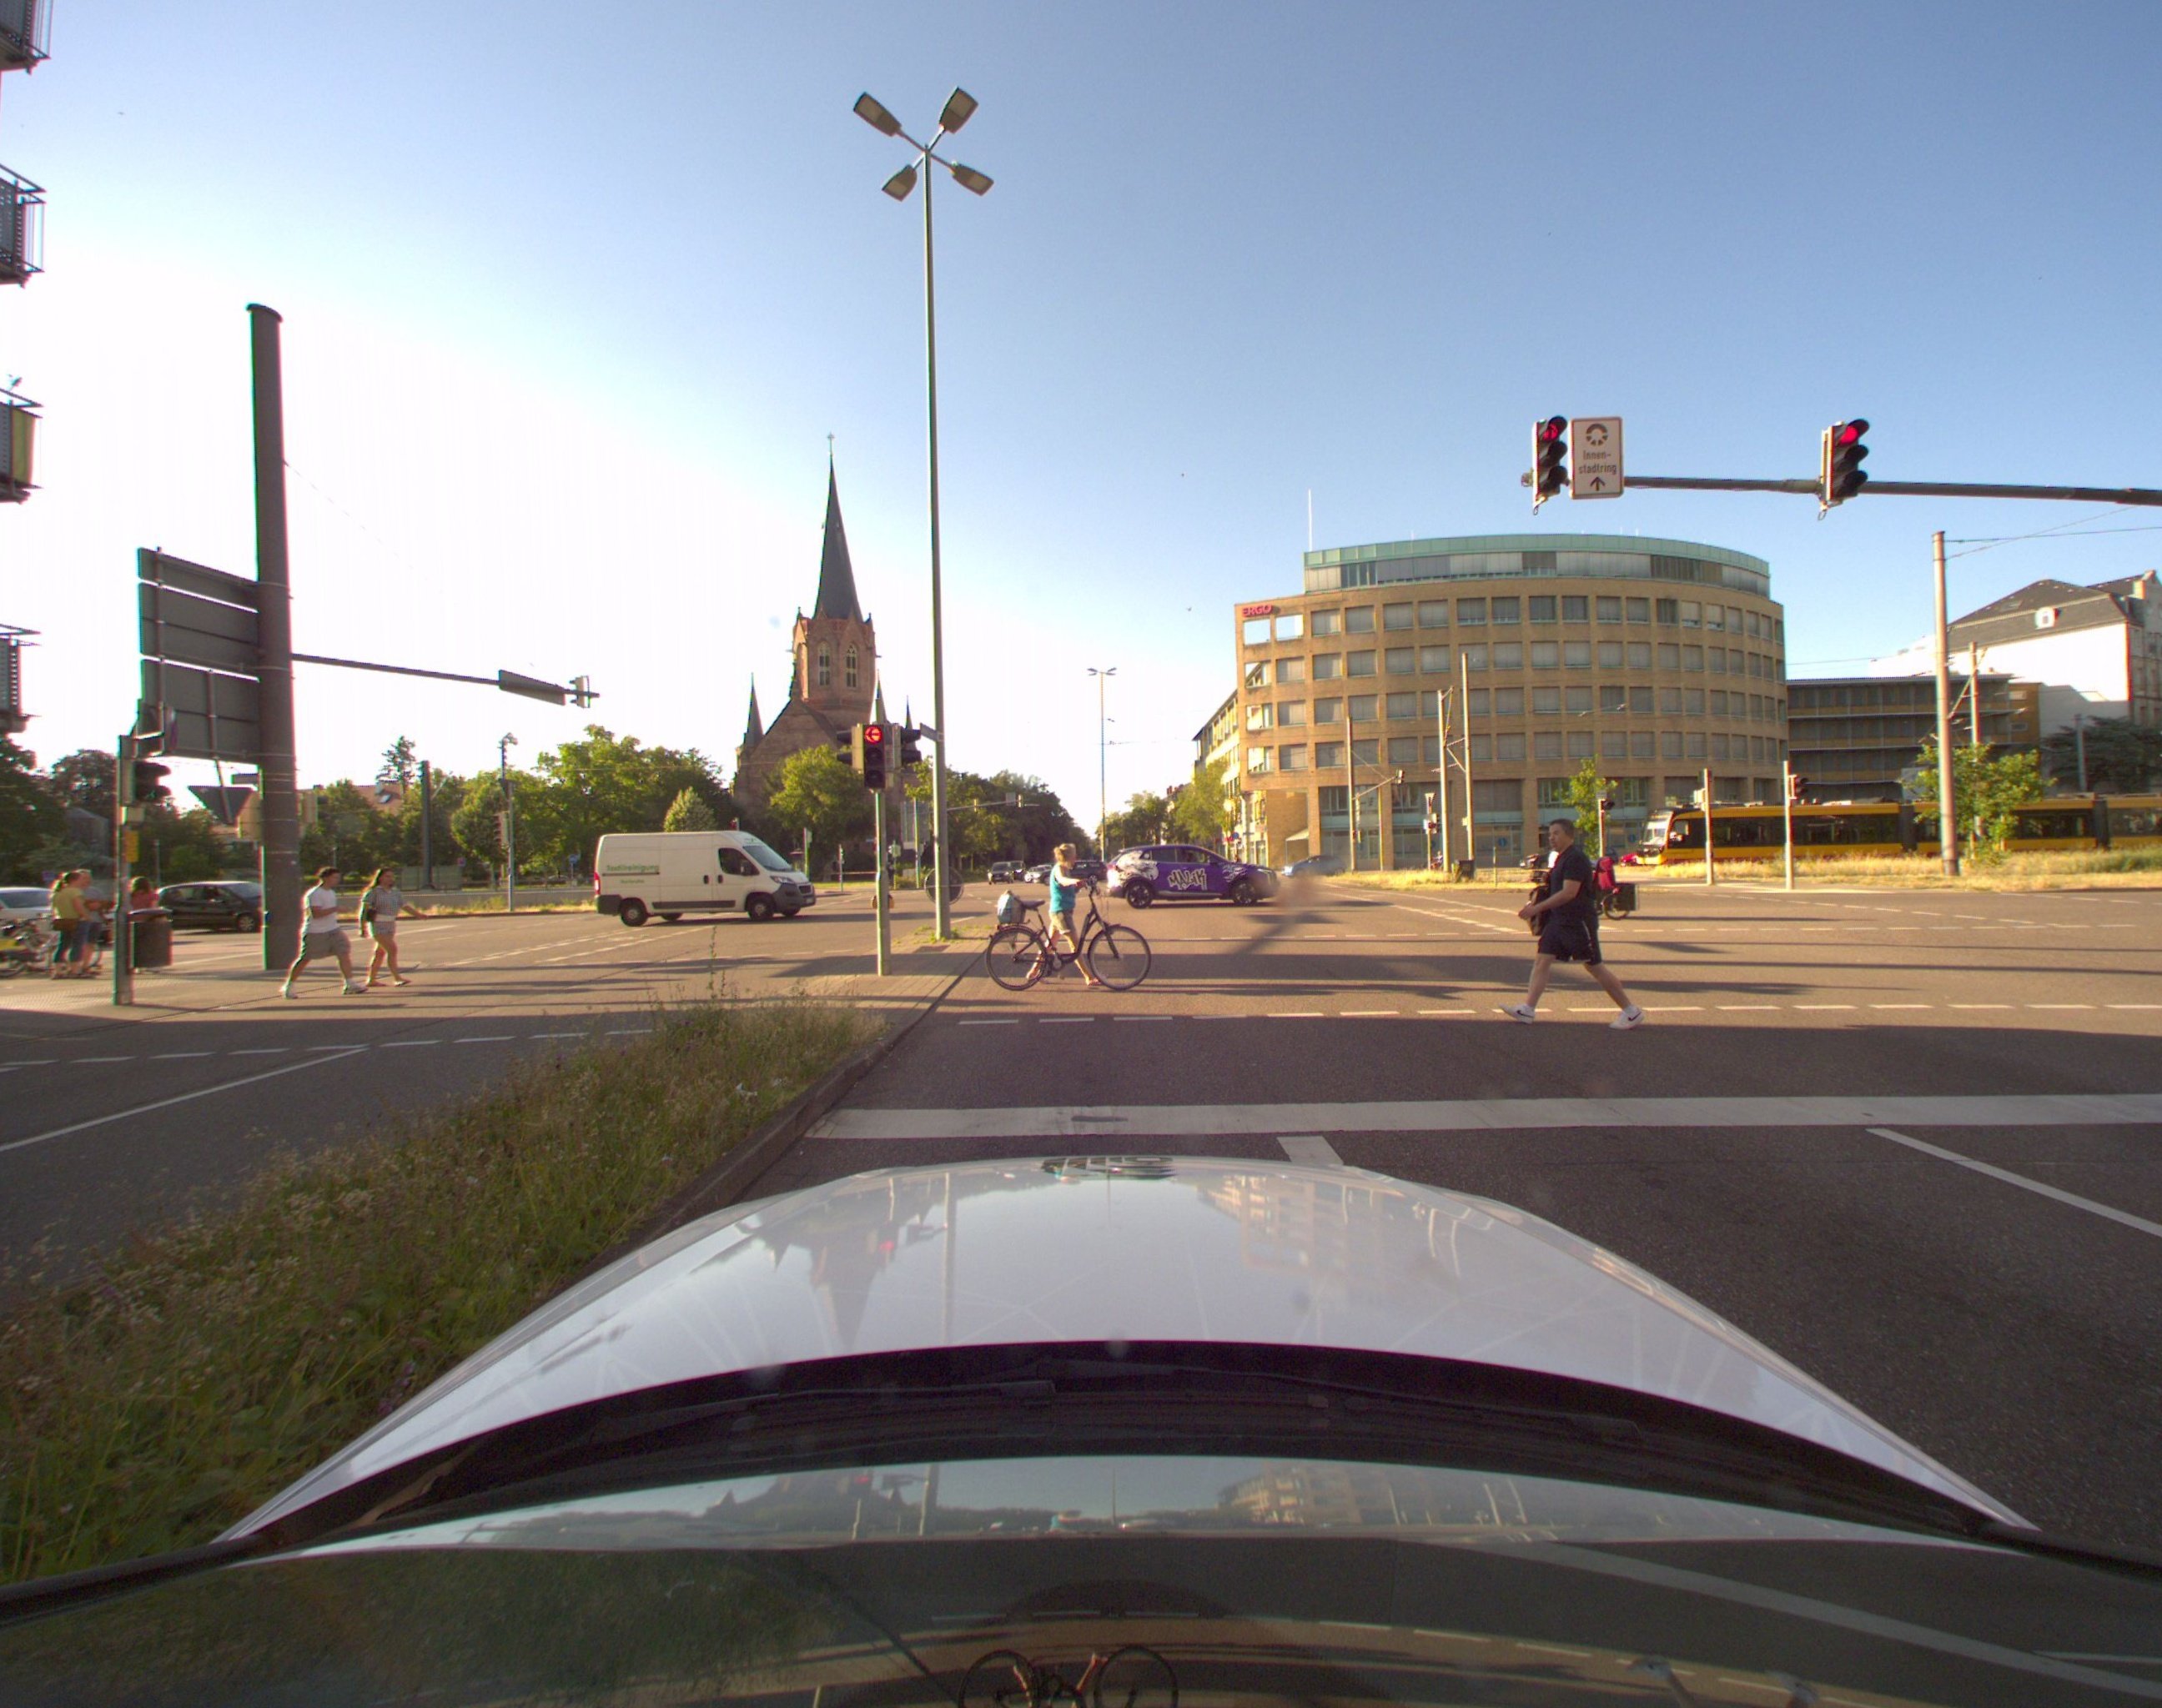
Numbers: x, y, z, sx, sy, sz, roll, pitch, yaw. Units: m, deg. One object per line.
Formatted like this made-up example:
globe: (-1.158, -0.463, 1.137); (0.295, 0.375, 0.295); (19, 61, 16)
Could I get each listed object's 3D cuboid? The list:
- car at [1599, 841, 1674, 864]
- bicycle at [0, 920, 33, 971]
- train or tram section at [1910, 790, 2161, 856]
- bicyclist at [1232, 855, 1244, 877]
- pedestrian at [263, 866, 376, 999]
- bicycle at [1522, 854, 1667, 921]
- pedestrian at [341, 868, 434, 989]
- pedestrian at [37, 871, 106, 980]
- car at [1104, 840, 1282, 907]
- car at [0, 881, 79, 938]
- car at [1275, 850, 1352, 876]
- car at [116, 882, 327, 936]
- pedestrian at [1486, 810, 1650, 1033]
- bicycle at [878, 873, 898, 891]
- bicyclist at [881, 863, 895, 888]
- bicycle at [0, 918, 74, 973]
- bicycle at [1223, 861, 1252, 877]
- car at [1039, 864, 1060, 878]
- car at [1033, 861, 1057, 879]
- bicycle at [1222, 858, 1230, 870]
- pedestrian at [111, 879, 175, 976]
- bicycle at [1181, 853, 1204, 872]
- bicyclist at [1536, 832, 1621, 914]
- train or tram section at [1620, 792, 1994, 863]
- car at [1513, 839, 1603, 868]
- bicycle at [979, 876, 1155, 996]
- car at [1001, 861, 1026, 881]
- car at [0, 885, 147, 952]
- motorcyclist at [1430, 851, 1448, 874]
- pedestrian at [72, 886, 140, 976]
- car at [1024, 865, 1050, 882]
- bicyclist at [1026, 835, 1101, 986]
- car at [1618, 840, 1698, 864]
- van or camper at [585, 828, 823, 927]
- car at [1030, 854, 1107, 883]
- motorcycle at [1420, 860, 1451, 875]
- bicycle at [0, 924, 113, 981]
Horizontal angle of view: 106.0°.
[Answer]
car: (35.343, -0.079, 51.848); (3.596, 1.342, 1.722); (-2, 0, 0)
bicycle: (-20.323, 1.722, 14.739); (0.494, 0.907, 1.703); (-2, 0, 0)
train or tram section: (56.935, -1.826, 45.591); (19.881, 3.177, 3.690); (-2, 0, -8)
bicyclist: (10.475, 0.807, 54.381); (0.663, 1.469, 0.534); (-2, 0, 5)
pedestrian: (-10.496, 1.065, 11.243); (0.917, 1.758, 0.676); (-2, 0, 9)
bicycle: (9.805, 0.618, 15.620); (2.037, 1.168, 1.161); (-2, 0, -1)
pedestrian: (-10.169, 1.073, 11.955); (0.749, 1.709, 0.676); (-2, 0, 9)
pedestrian: (-16.882, 1.187, 13.625); (0.550, 1.769, 0.470); (-2, 0, 2)
car: (2.913, 0.499, 21.379); (4.378, 1.573, 1.840); (-2, 0, 8)
car: (-34.755, 1.771, 25.363); (4.439, 1.672, 2.121); (-2, 0, 0)
car: (14.537, 0.549, 51.046); (4.218, 1.502, 1.998); (-2, 0, -3)
car: (-26.961, 1.700, 25.673); (4.470, 1.409, 1.960); (-2, 0, -1)
pedestrian: (4.067, 0.545, 6.864); (0.940, 1.768, 0.670); (-2, 0, 5)
bicycle: (-12.954, 1.861, 54.613); (0.650, 1.139, 1.662); (-1, 0, -35)
bicyclist: (-12.919, 1.442, 54.551); (0.644, 1.694, 0.774); (-1, -1, -35)
bicycle: (-19.700, 1.687, 14.873); (0.494, 0.907, 1.703); (-2, 0, 0)
bicycle: (10.424, 0.981, 54.387); (1.812, 0.984, 0.534); (-2, 0, 4)
car: (-3.101, 1.697, 80.515); (1.773, 1.236, 4.001); (-2, 0, 1)
car: (-3.196, 1.445, 73.253); (1.773, 1.464, 4.001); (-2, 0, 1)
bicycle: (15.015, 1.034, 84.219); (0.769, 1.196, 2.471); (-2, 0, 9)
pedestrian: (-16.372, 1.267, 14.221); (0.464, 1.642, 0.579); (-2, -1, 21)
bicycle: (7.368, 0.565, 53.789); (1.511, 1.172, 0.476); (-2, 0, 7)
bicyclist: (9.499, 0.345, 15.596); (0.877, 1.487, 1.161); (-2, 0, -1)
train or tram section: (39.039, -1.369, 44.234); (17.047, 3.177, 3.699); (-2, 0, 0)
car: (28.547, -0.026, 48.832); (4.212, 1.614, 2.001); (-2, 0, 2)
bicycle: (-0.147, 0.874, 8.961); (1.822, 1.188, 0.734); (-2, 0, -1)
car: (-6.159, 1.502, 74.645); (1.773, 1.704, 4.001); (-2, 0, 1)
car: (-28.695, 1.751, 22.040); (4.470, 1.618, 1.960); (-2, 0, -1)
motorcyclist: (23.968, 0.596, 54.515); (0.877, 1.511, 0.524); (-2, 0, 0)
pedestrian: (-17.190, 1.342, 14.370); (0.466, 1.530, 0.576); (-2, 0, 0)
car: (-3.592, 1.550, 66.680); (1.773, 1.236, 4.001); (-2, 0, 1)
bicyclist: (-0.200, 0.626, 9.531); (0.780, 1.660, 0.900); (-2, 0, -1)
car: (34.732, -0.110, 49.085); (3.595, 1.342, 1.722); (-2, 0, 1)
van or camper: (-10.170, 0.624, 22.297); (5.401, 2.416, 2.166); (-2, 0, 1)
car: (-0.762, 0.855, 50.187); (4.635, 1.598, 1.998); (-2, 0, -2)
motorcycle: (23.724, 0.881, 54.515); (1.811, 0.953, 0.524); (-2, 0, 0)
bicycle: (-18.915, 1.782, 14.845); (0.494, 0.840, 1.703); (-2, 0, 0)
